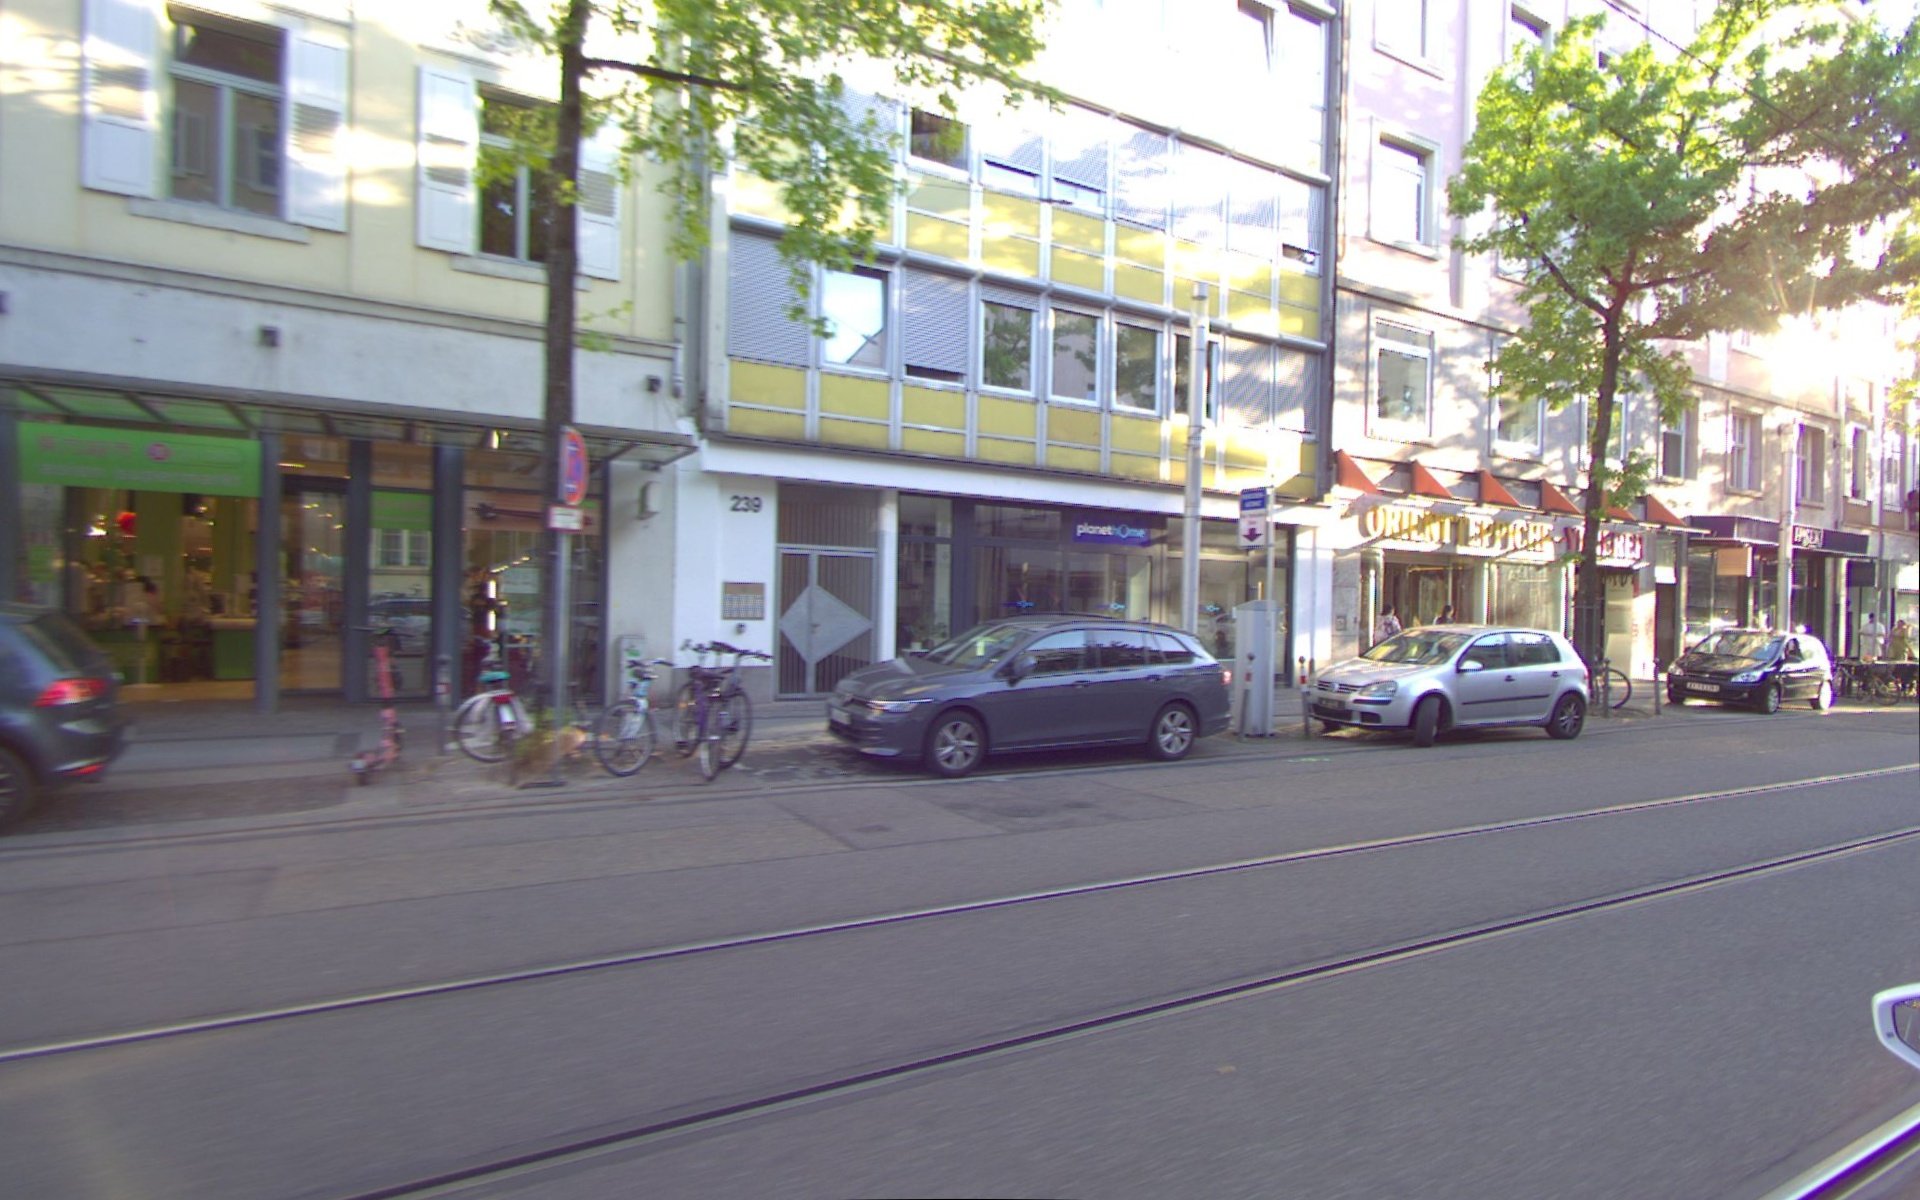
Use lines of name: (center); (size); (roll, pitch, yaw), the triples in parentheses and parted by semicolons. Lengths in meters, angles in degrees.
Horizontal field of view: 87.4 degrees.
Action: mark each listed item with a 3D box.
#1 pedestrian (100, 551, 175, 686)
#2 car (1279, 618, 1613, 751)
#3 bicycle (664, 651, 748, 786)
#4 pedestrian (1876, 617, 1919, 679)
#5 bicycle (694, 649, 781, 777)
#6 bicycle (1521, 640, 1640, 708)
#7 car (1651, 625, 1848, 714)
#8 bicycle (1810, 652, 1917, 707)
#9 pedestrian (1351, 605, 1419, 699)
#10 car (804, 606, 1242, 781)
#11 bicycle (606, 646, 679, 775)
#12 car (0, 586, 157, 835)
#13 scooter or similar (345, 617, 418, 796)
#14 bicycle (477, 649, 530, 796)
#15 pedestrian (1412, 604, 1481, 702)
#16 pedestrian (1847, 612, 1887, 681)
pedestrian: (-11.297, 0.251, 13.811); (0.677, 1.802, 0.665); (1, 0, -30)
car: (6.500, 1.072, 13.436); (4.116, 1.517, 1.762); (2, 0, -24)
bicycle: (-2.367, 1.023, 9.218); (0.326, 1.014, 1.964); (1, 0, -26)
pedestrian: (27.568, 1.391, 29.451); (1.077, 1.784, 0.718); (1, 0, -30)
bicycle: (-2.180, 1.030, 9.673); (0.326, 1.014, 1.963); (1, 0, -27)
bicycle: (11.282, 1.318, 18.318); (0.436, 1.079, 1.796); (1, 1, -37)
car: (15.222, 1.284, 19.333); (3.782, 1.447, 1.657); (1, 2, -30)
bicycle: (19.006, 1.659, 21.161); (0.426, 0.978, 1.612); (1, 2, -23)
pedestrian: (8.000, 0.953, 18.913); (0.903, 1.716, 0.785); (1, 0, -30)
car: (0.747, 0.882, 10.699); (4.432, 1.480, 1.703); (1, 1, -30)
bicycle: (-3.062, 0.995, 9.582); (0.414, 1.014, 1.965); (1, 0, -24)
car: (-7.669, 0.653, 6.125); (4.201, 1.510, 1.779); (2, 1, -36)
scooter or similar: (-4.748, 0.819, 8.289); (0.370, 1.288, 1.415); (1, 2, -25)
bicycle: (-3.899, 0.970, 8.535); (0.326, 1.014, 1.964); (1, 0, -26)
pedestrian: (8.805, 0.934, 18.199); (0.732, 1.716, 0.840); (1, 0, -30)
pedestrian: (27.374, 1.397, 30.308); (0.635, 2.040, 0.718); (1, 0, -29)
